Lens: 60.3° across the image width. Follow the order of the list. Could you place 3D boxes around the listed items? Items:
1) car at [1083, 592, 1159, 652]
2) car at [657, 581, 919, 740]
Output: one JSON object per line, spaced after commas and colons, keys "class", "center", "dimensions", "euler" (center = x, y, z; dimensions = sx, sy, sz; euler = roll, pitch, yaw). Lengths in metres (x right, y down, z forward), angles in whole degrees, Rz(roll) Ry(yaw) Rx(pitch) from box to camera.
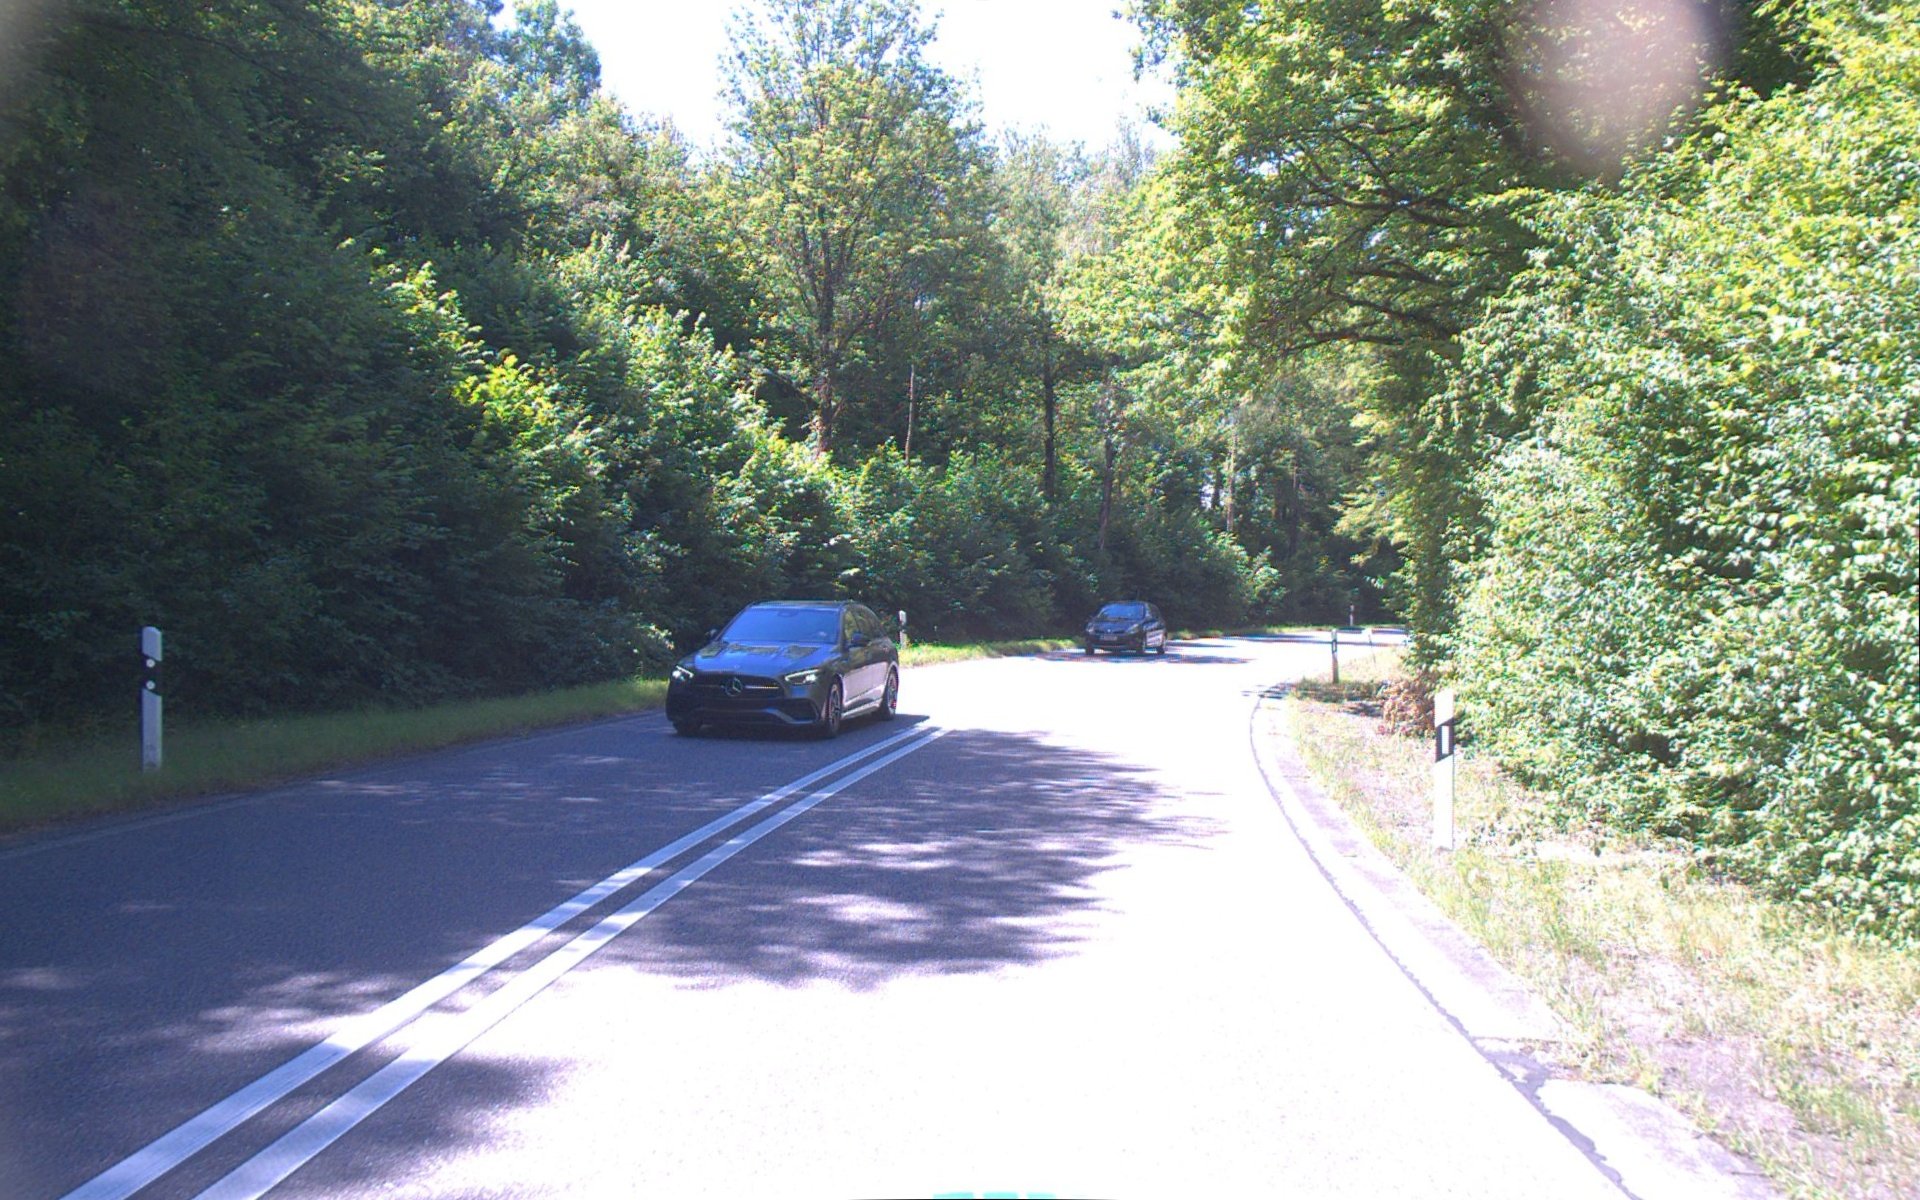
{"class": "car", "center": [4.528, 0.603, 46.158], "dimensions": [1.641, 1.601, 3.898], "euler": [-1, -1, 12]}
{"class": "car", "center": [-1.848, 0.637, 19.228], "dimensions": [1.719, 1.601, 4.371], "euler": [1, 0, 12]}
